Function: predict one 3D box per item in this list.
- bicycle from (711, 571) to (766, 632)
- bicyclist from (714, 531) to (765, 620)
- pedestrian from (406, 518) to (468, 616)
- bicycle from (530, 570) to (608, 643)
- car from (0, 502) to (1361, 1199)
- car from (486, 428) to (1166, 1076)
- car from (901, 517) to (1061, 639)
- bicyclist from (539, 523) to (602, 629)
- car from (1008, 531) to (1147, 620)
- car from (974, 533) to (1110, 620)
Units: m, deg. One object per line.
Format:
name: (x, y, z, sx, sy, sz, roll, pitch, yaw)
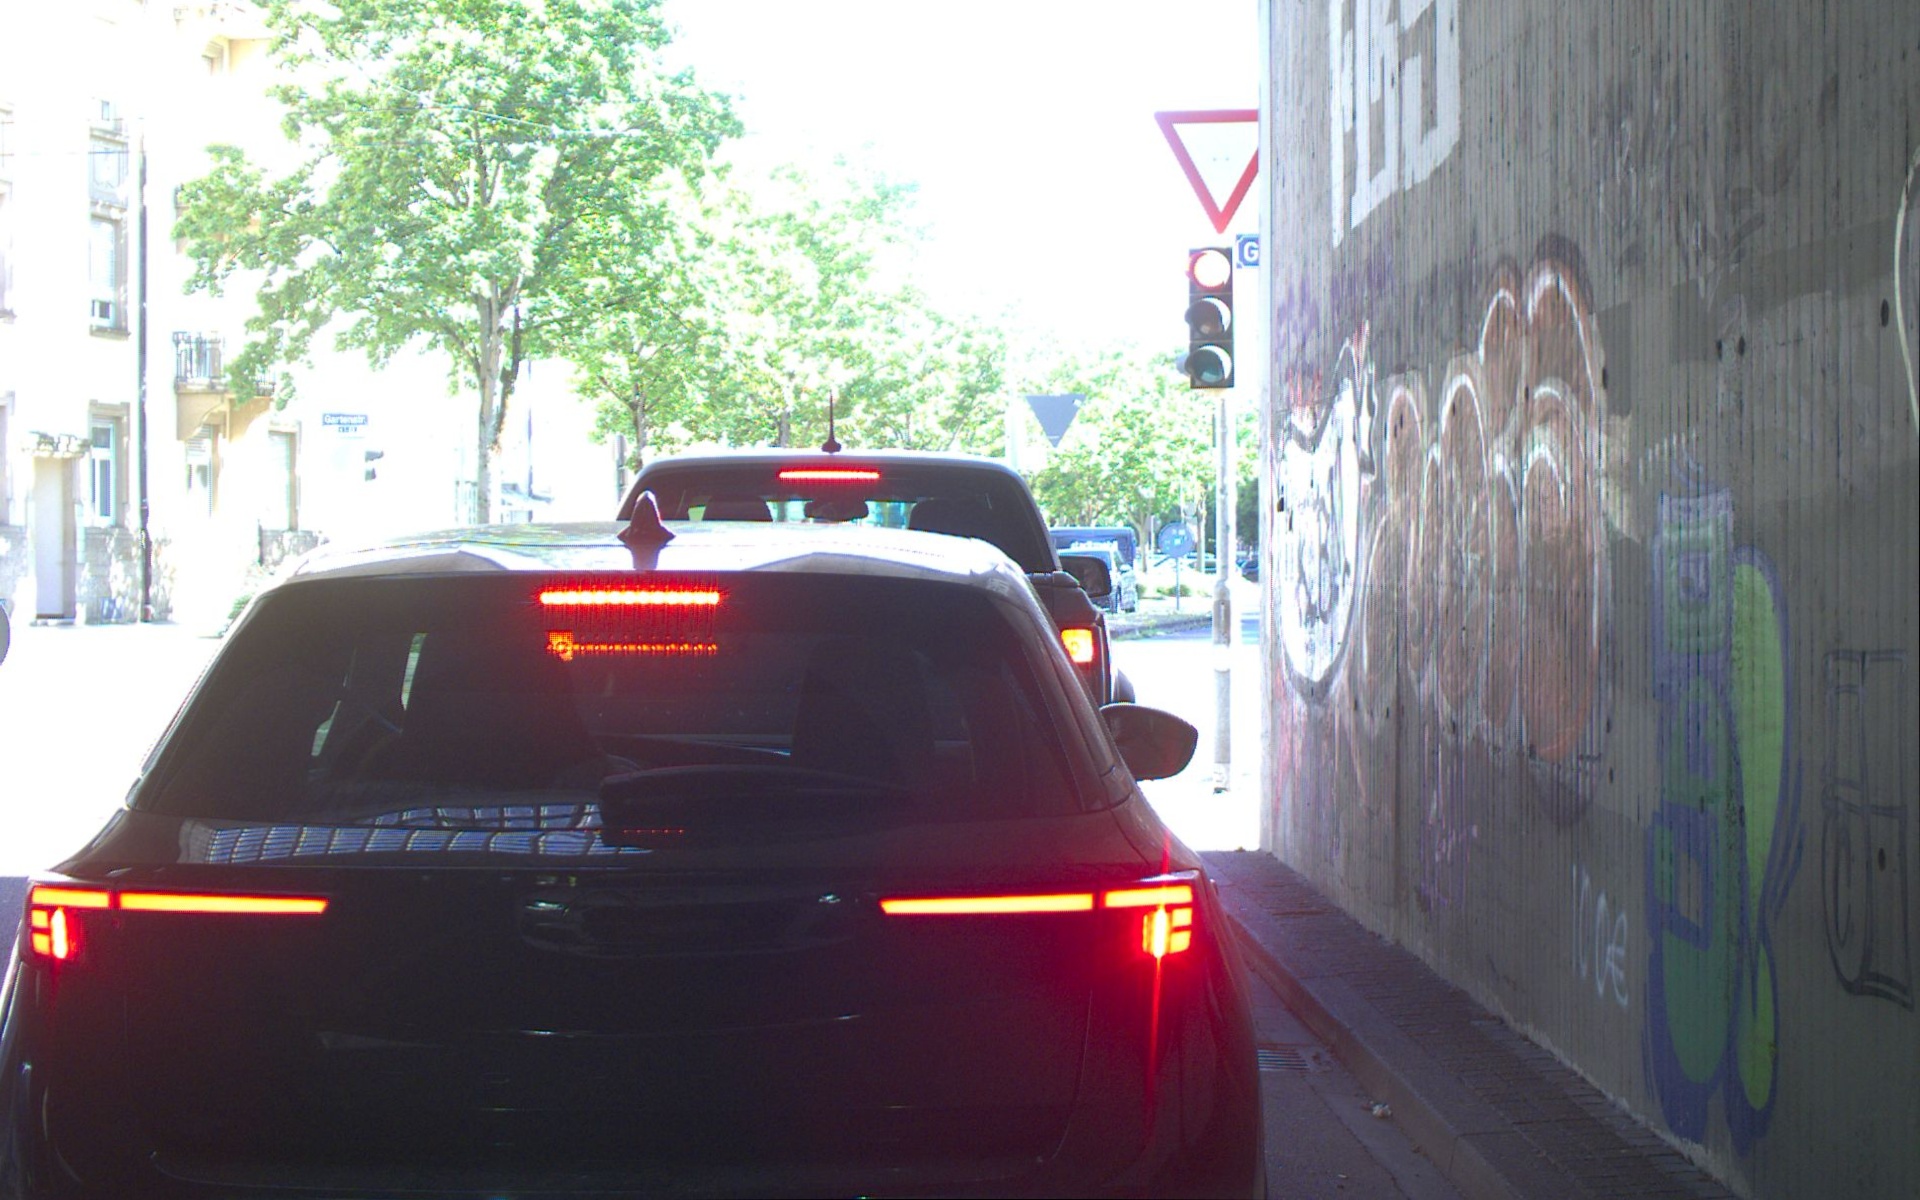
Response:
bicycle: (-3.961, 0.019, 61.537, 0.626, 1.064, 1.688, 1, 1, 9)
bicyclist: (-3.943, -0.438, 61.588, 0.729, 1.576, 0.814, 1, 0, 9)
pedestrian: (-10.837, -0.681, 71.261, 0.992, 2.007, 1.088, 0, 1, 8)
bicycle: (-5.850, 0.094, 51.521, 0.732, 1.064, 1.688, 1, 1, 9)
car: (-0.486, 0.620, 6.076, 1.882, 1.532, 3.964, -1, 1, -1)
car: (-0.407, 0.401, 11.897, 1.945, 1.853, 3.964, -1, 1, -1)
car: (0.305, -0.248, 44.179, 1.968, 1.492, 3.896, 0, -1, 1)
bicyclist: (-5.832, -0.363, 51.547, 0.729, 1.576, 0.814, 1, 0, 9)
car: (2.399, -0.459, 69.011, 2.221, 1.713, 4.458, 0, -1, 10)
car: (1.513, -0.402, 62.201, 1.969, 1.492, 3.895, 0, -1, 9)
